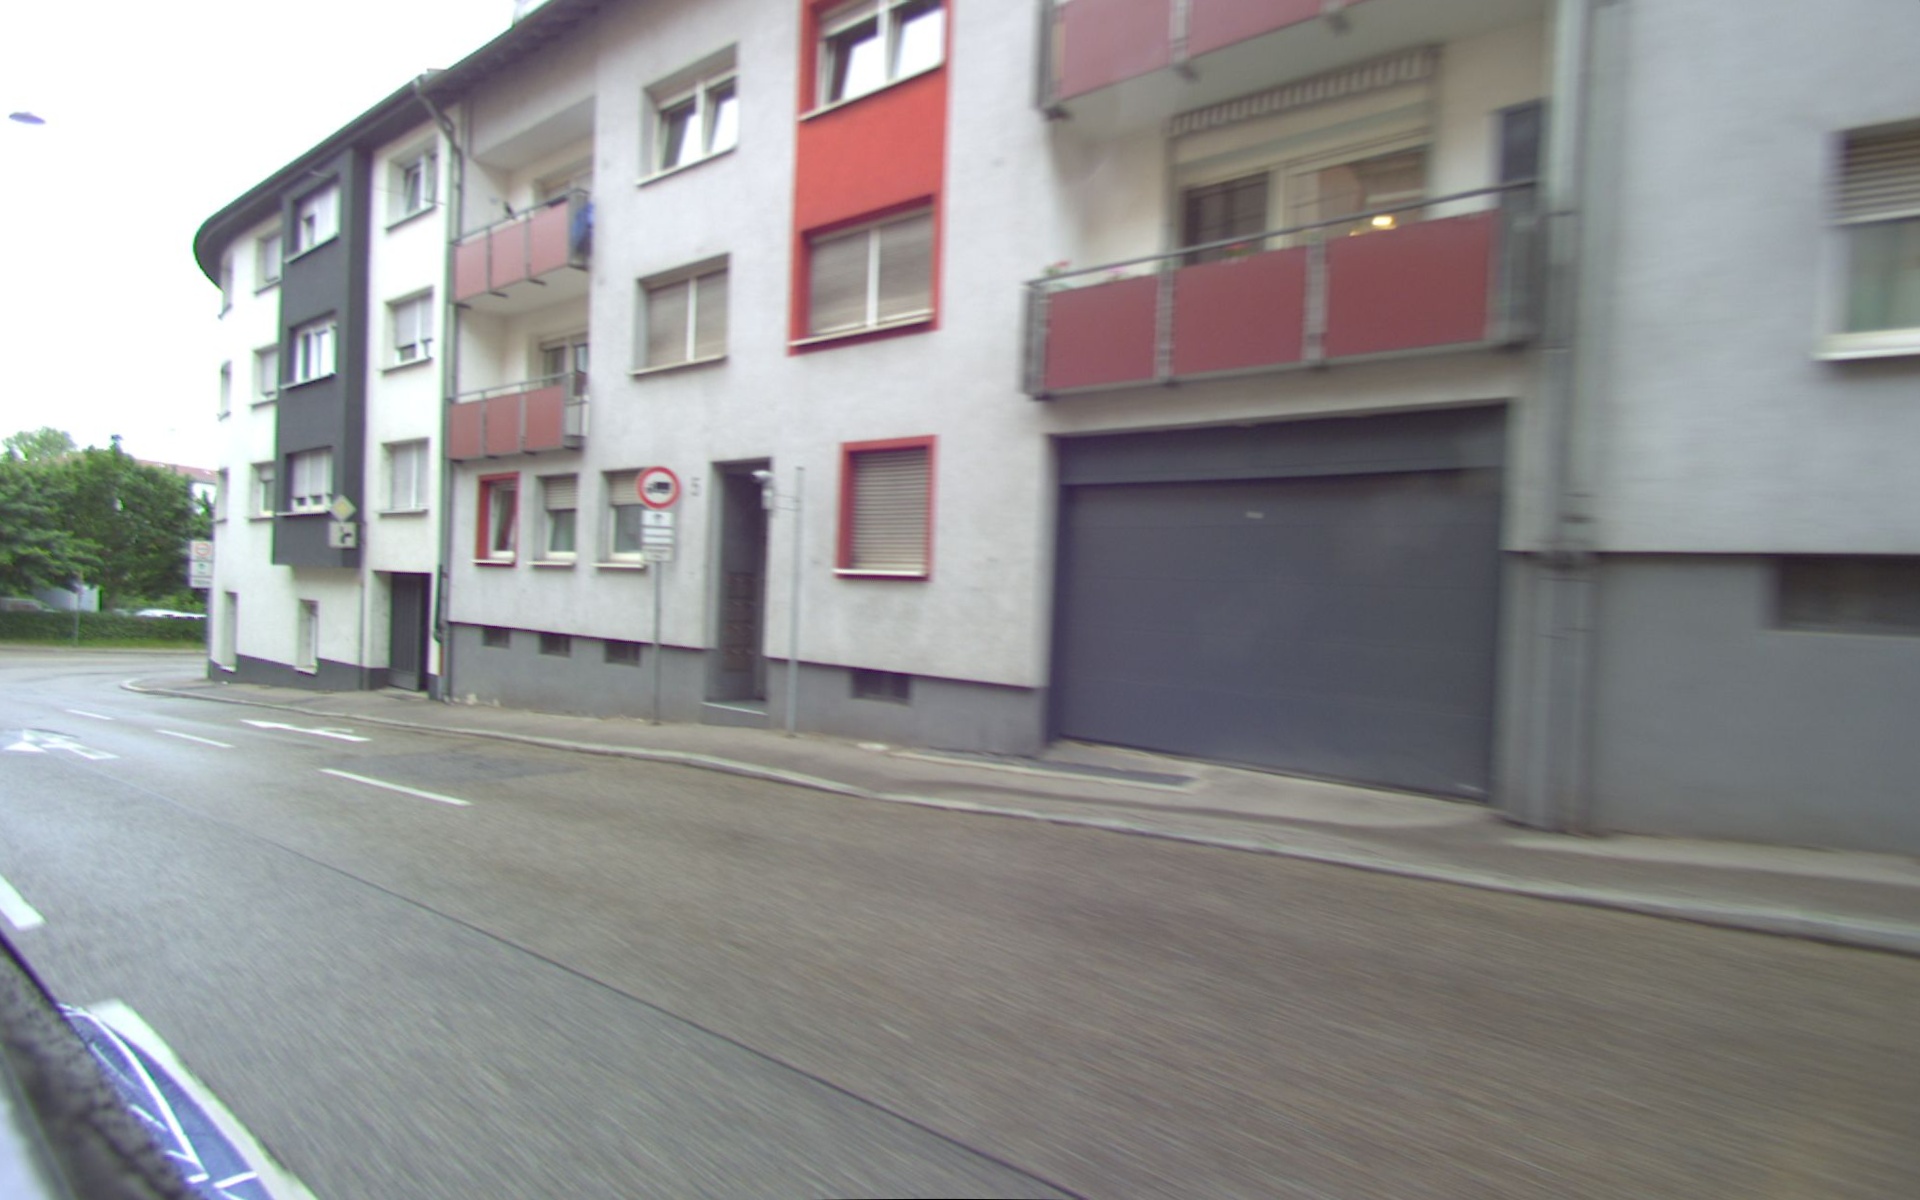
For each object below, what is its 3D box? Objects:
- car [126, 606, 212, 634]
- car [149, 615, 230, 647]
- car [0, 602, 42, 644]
[{"bbox_3d":[-50.870,1.335,65.202,1.786,1.522,3.975,2,-4,18],"label":"car"},{"bbox_3d":[-45.690,1.856,60.008,4.176,1.634,1.628,2,-4,17],"label":"car"},{"bbox_3d":[-47.989,1.093,50.592,4.192,1.975,1.622,1,-4,28],"label":"car"}]
